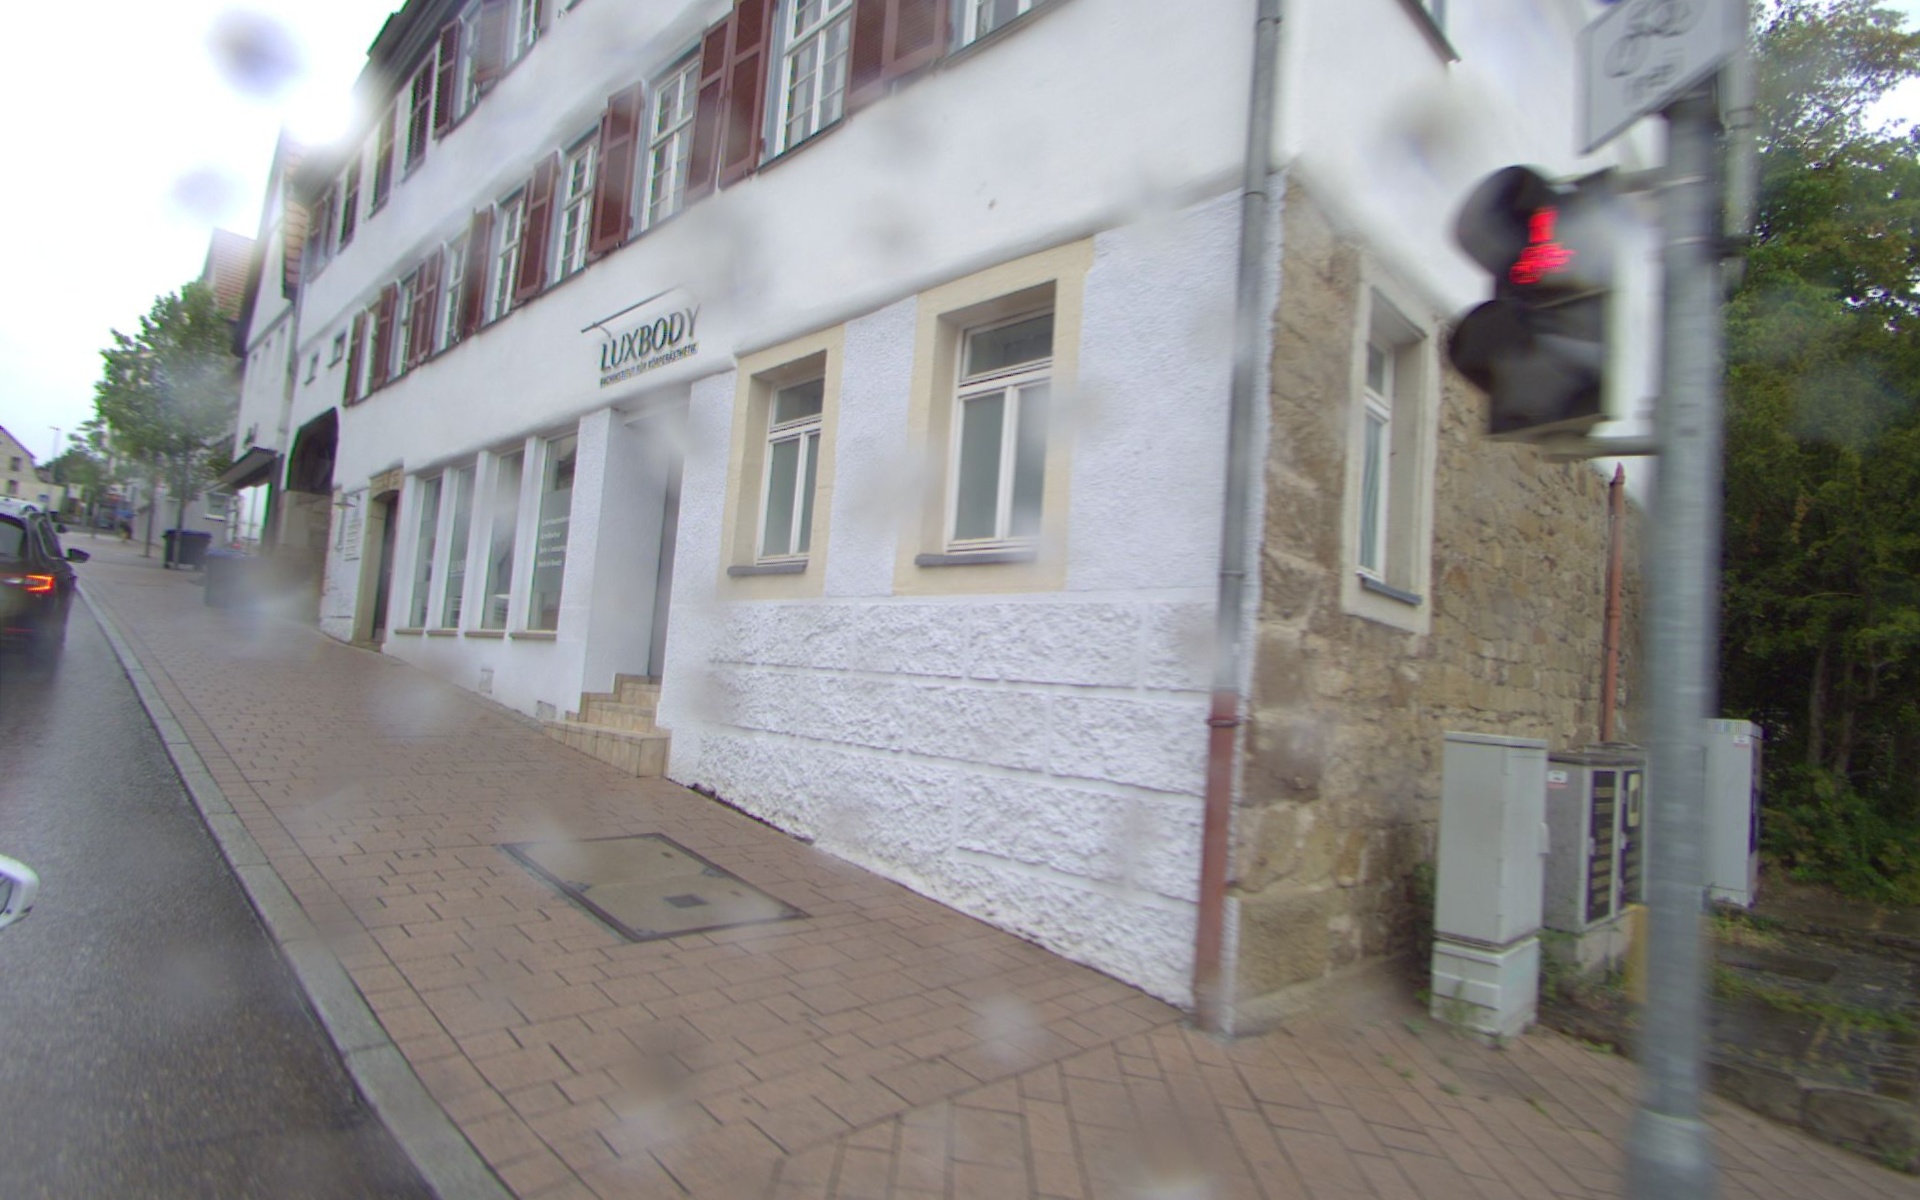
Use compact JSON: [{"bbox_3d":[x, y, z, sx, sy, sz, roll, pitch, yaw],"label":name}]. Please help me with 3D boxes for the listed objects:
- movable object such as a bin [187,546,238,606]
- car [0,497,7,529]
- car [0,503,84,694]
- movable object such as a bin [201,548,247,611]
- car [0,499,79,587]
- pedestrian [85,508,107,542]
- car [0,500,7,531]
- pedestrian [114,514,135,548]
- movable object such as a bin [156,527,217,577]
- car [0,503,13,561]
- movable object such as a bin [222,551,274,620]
[{"bbox_3d":[-14.872,-0.477,20.022,0.657,1.075,0.607,9,-1,-42],"label":"movable object such as a bin"},{"bbox_3d":[-49.207,-4.543,50.424,3.557,1.569,1.702,6,-3,43],"label":"car"},{"bbox_3d":[-9.526,-0.228,9.344,1.881,1.464,4.307,10,-2,-41],"label":"car"},{"bbox_3d":[-14.214,-0.390,19.428,0.565,1.120,0.669,8,-6,-41],"label":"movable object such as a bin"},{"bbox_3d":[-19.181,-1.251,20.374,1.851,1.489,3.954,10,-2,-41],"label":"car"},{"bbox_3d":[-47.360,-4.098,55.149,0.703,1.744,0.822,10,-2,-41],"label":"pedestrian"},{"bbox_3d":[-66.533,-5.927,68.605,1.990,2.036,3.950,10,-3,-44],"label":"car"},{"bbox_3d":[-46.910,-3.879,56.487,0.703,1.744,0.822,10,-2,-41],"label":"pedestrian"},{"bbox_3d":[-25.463,-1.575,33.127,1.468,1.365,1.284,7,-2,45],"label":"movable object such as a bin"},{"bbox_3d":[-29.439,-2.062,29.801,3.951,1.546,1.625,0,-7,43],"label":"car"},{"bbox_3d":[-13.566,-0.278,19.166,0.622,1.219,0.599,9,-3,-40],"label":"movable object such as a bin"}]
